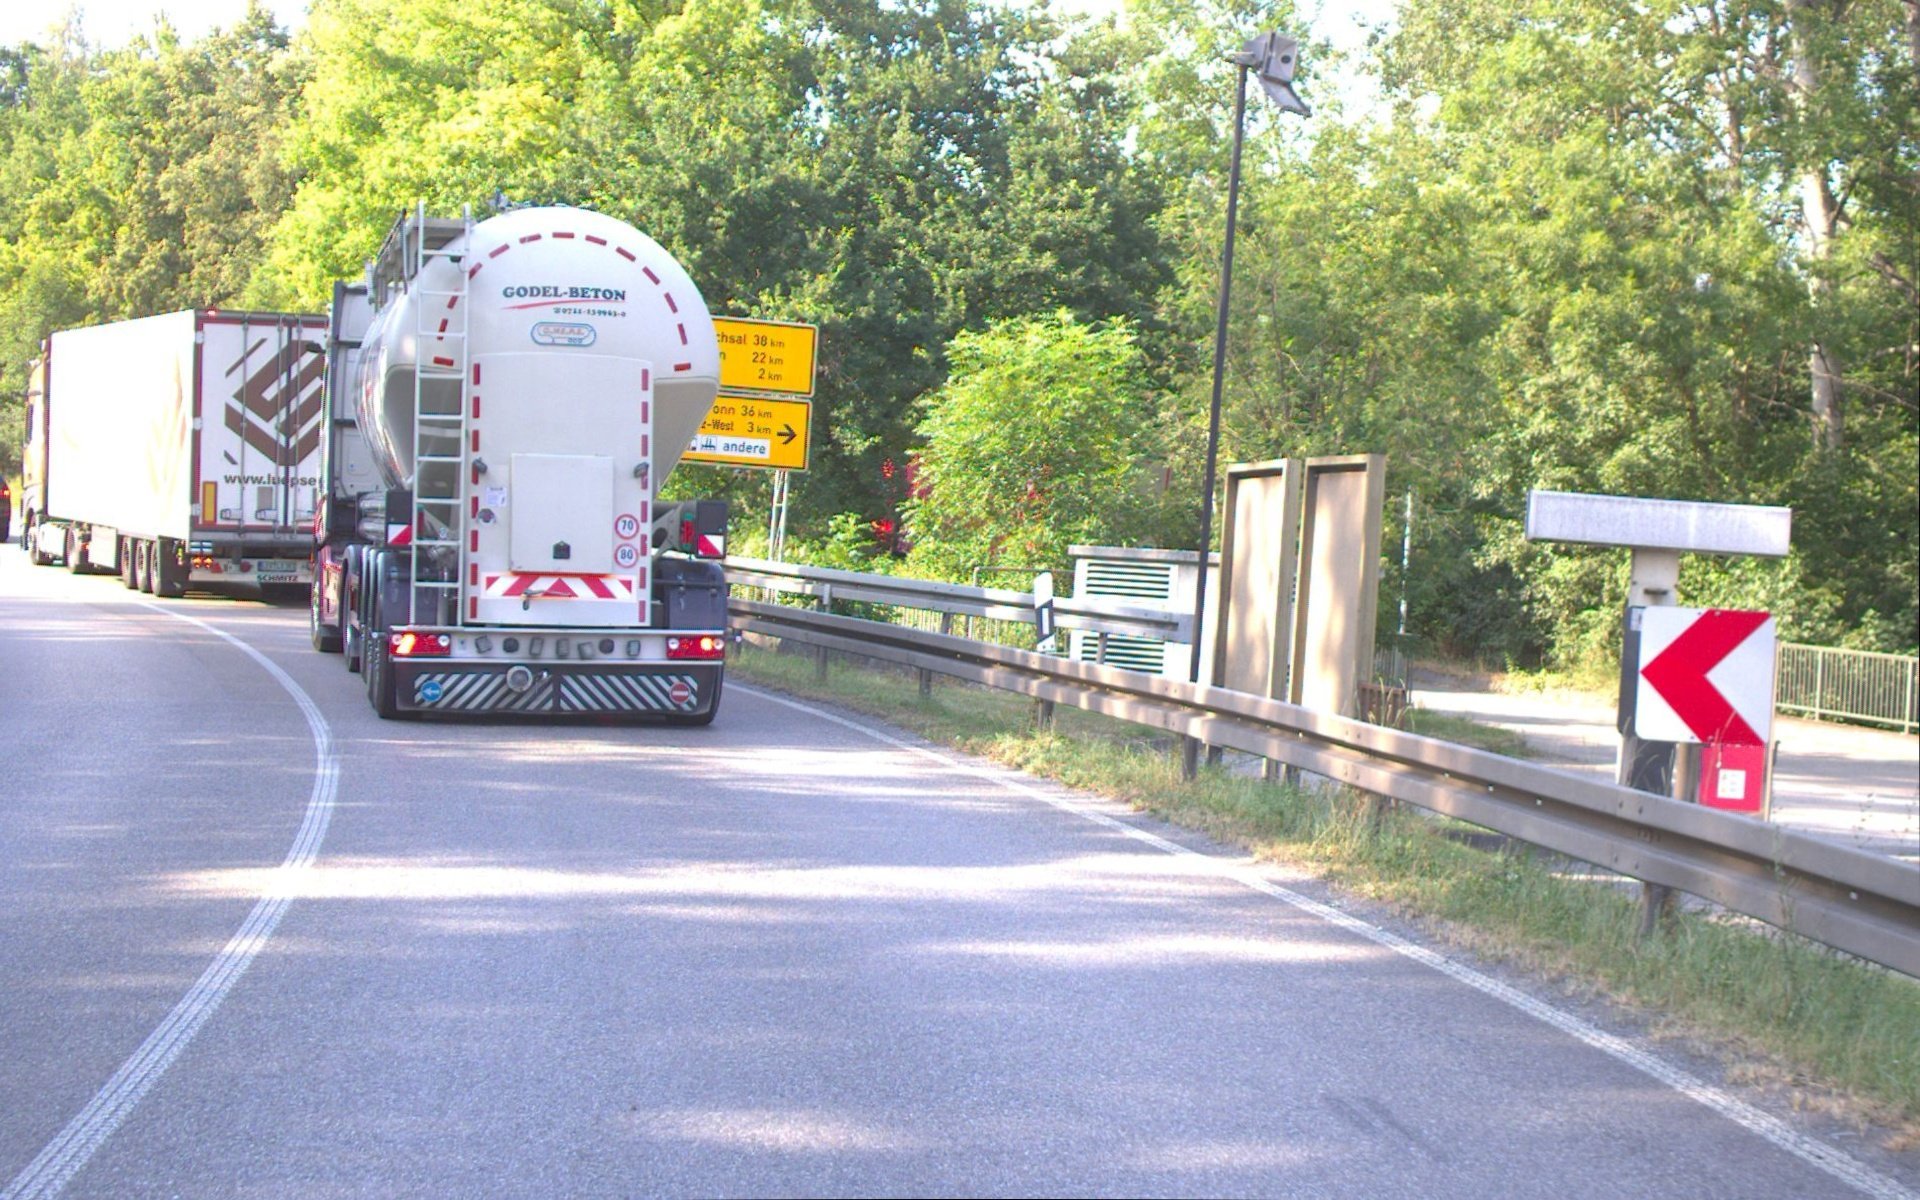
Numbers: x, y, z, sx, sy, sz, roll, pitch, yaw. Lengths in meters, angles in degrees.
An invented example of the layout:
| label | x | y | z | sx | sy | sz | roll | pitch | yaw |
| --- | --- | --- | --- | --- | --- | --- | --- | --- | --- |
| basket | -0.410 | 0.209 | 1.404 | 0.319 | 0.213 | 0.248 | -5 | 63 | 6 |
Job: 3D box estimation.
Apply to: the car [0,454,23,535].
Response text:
| label | x | y | z | sx | sy | sz | roll | pitch | yaw |
| --- | --- | --- | --- | --- | --- | --- | --- | --- | --- |
| car | -21.075 | -2.267 | 71.423 | 1.867 | 1.622 | 4.000 | 3 | 1 | -34 |

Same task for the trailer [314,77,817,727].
| label | x | y | z | sx | sy | sz | roll | pitch | yaw |
| --- | --- | --- | --- | --- | --- | --- | --- | --- | --- |
| trailer | -3.686 | -1.544 | 29.340 | 2.885 | 4.439 | 9.609 | 4 | 1 | -13 |

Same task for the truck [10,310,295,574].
| label | x | y | z | sx | sy | sz | roll | pitch | yaw |
| --- | --- | --- | --- | --- | --- | --- | --- | --- | --- |
| truck | -13.847 | -2.649 | 58.535 | 3.449 | 4.072 | 6.492 | 3 | 1 | -24 |

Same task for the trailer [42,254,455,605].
| label | x | y | z | sx | sy | sz | roll | pitch | yaw |
| --- | --- | --- | --- | --- | --- | --- | --- | --- | --- |
| trailer | -11.097 | -2.490 | 52.065 | 3.544 | 4.497 | 12.988 | 3 | 1 | -23 |

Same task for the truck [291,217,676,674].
| label | x | y | z | sx | sy | sz | roll | pitch | yaw |
| --- | --- | --- | --- | --- | --- | --- | --- | --- | --- |
| truck | -4.946 | -1.505 | 34.657 | 2.823 | 4.021 | 5.896 | 4 | 1 | -16 |
